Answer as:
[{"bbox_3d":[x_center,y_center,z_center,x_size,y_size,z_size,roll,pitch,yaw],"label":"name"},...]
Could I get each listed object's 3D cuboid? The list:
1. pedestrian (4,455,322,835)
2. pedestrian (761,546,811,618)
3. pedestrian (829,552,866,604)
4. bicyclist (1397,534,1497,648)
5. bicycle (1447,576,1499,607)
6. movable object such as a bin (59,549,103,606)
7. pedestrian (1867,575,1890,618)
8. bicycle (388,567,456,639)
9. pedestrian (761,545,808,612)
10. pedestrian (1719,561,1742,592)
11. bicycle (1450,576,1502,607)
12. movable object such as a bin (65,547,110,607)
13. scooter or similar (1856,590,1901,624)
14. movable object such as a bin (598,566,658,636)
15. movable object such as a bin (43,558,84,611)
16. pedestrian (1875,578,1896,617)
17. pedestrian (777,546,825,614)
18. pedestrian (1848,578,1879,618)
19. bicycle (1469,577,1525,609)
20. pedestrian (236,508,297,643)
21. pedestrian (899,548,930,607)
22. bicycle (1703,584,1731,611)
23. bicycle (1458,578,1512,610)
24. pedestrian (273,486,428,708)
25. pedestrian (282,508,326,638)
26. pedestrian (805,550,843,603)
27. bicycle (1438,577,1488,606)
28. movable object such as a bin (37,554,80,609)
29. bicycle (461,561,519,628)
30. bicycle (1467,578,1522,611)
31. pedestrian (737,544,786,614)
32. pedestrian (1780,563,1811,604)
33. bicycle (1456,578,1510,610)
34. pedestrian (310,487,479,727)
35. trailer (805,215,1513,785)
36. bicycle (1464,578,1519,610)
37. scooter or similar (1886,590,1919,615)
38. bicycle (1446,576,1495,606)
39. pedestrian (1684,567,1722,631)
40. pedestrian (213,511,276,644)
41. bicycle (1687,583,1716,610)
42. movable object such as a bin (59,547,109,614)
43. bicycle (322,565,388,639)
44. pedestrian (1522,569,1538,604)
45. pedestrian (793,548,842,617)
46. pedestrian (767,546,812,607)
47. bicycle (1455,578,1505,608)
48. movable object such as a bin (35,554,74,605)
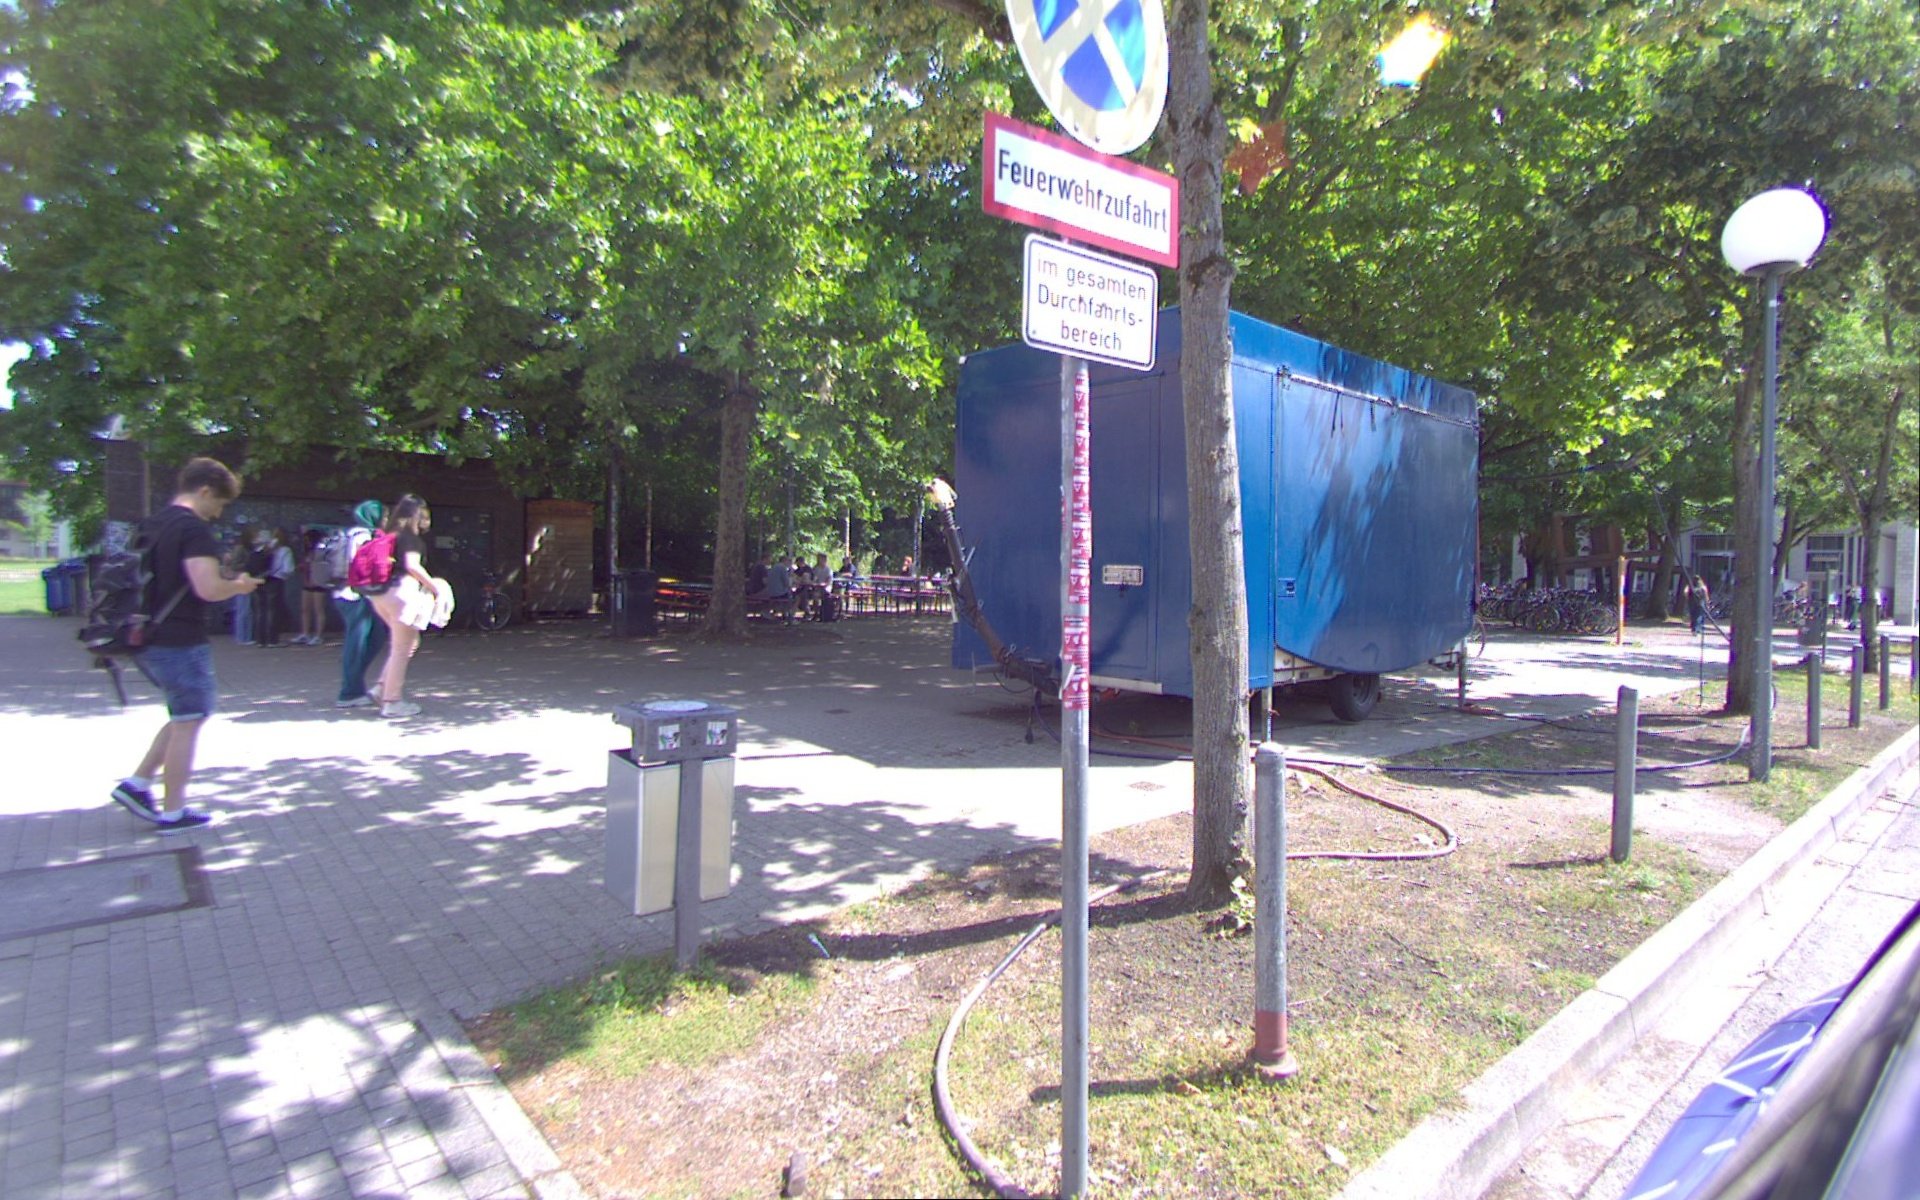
[{"bbox_3d":[-3.743,0.176,4.821,0.835,1.615,0.829,2,2,6],"label":"pedestrian"},{"bbox_3d":[-3.452,-0.358,20.029,0.570,1.363,0.717,6,4,44],"label":"pedestrian"},{"bbox_3d":[-2.905,-0.565,26.100,0.667,1.286,0.612,6,4,45],"label":"pedestrian"},{"bbox_3d":[7.132,-0.142,14.825,1.171,1.586,0.654,1,4,-27],"label":"bicyclist"},{"bbox_3d":[21.020,-0.354,41.459,1.817,1.185,0.352,2,1,13],"label":"bicycle"},{"bbox_3d":[-20.911,-0.529,24.088,0.754,1.337,0.783,1,0,-41],"label":"movable object such as a bin"},{"bbox_3d":[41.275,-0.168,45.468,0.675,1.914,0.685,-1,2,-44],"label":"pedestrian"},{"bbox_3d":[-8.899,0.005,16.703,0.768,1.085,2.406,0,2,-33],"label":"bicycle"},{"bbox_3d":[-3.718,-0.460,21.452,0.570,1.363,0.717,6,4,44],"label":"pedestrian"},{"bbox_3d":[45.184,-1.392,59.351,0.793,1.819,0.621,1,1,-9],"label":"pedestrian"},{"bbox_3d":[20.949,-0.338,41.109,1.817,1.185,0.352,2,1,13],"label":"bicycle"},{"bbox_3d":[-19.864,-0.514,23.054,0.754,1.337,0.783,1,0,-41],"label":"movable object such as a bin"},{"bbox_3d":[32.594,0.262,35.921,1.333,1.128,0.498,2,1,-16],"label":"scooter or similar"},{"bbox_3d":[-5.307,0.000,16.192,0.729,1.084,0.600,-2,3,-40],"label":"movable object such as a bin"},{"bbox_3d":[-23.163,-0.392,26.163,0.754,1.337,0.783,1,0,-41],"label":"movable object such as a bin"},{"bbox_3d":[42.147,-0.108,46.083,0.533,1.750,0.613,0,2,-40],"label":"pedestrian"},{"bbox_3d":[-3.308,-0.408,21.046,0.570,1.363,0.717,6,4,44],"label":"pedestrian"},{"bbox_3d":[41.632,-0.106,46.638,0.796,1.819,0.619,1,1,6],"label":"pedestrian"},{"bbox_3d":[20.467,-0.271,38.583,1.817,1.185,0.344,2,1,12],"label":"bicycle"},{"bbox_3d":[-9.956,-0.348,14.542,0.547,1.906,0.530,1,0,-11],"label":"pedestrian"},{"bbox_3d":[-1.303,-0.631,28.680,0.654,1.600,0.721,3,3,-15],"label":"pedestrian"},{"bbox_3d":[33.222,-0.100,44.411,1.486,1.099,0.482,2,2,-36],"label":"bicycle"},{"bbox_3d":[20.713,-0.231,39.971,1.817,1.185,0.352,2,1,13],"label":"bicycle"},{"bbox_3d":[-4.953,-0.047,8.224,0.932,1.658,0.877,-1,3,-41],"label":"pedestrian"},{"bbox_3d":[-9.855,-0.401,15.209,0.519,1.906,0.449,1,1,-31],"label":"pedestrian"},{"bbox_3d":[-3.416,-0.588,25.407,0.667,1.286,0.612,6,4,45],"label":"pedestrian"},{"bbox_3d":[21.704,-0.353,43.688,1.816,1.185,0.412,2,1,11],"label":"bicycle"},{"bbox_3d":[-22.487,-0.464,25.257,0.754,1.337,0.783,1,0,-41],"label":"movable object such as a bin"},{"bbox_3d":[-8.217,-0.106,17.656,0.767,1.085,2.407,0,1,-28],"label":"bicycle"},{"bbox_3d":[20.546,-0.219,38.921,1.817,1.185,0.344,2,1,13],"label":"bicycle"},{"bbox_3d":[-4.035,-0.430,20.591,0.570,1.363,0.717,6,4,44],"label":"pedestrian"},{"bbox_3d":[36.414,-0.714,44.095,0.737,1.762,0.935,0,1,-44],"label":"pedestrian"},{"bbox_3d":[20.828,-0.245,40.327,1.817,1.185,0.352,2,1,13],"label":"bicycle"},{"bbox_3d":[-4.248,0.007,7.606,0.932,1.657,0.877,-2,5,-41],"label":"pedestrian"},{"bbox_3d":[2.047,-0.623,8.584,6.151,3.089,2.696,0,3,-42],"label":"trailer"},{"bbox_3d":[20.618,-0.234,39.250,1.817,1.185,0.344,2,1,13],"label":"bicycle"},{"bbox_3d":[49.034,0.131,52.567,0.555,1.226,1.508,0,3,8],"label":"scooter or similar"},{"bbox_3d":[21.712,-0.382,43.060,1.816,1.185,0.387,2,1,11],"label":"bicycle"},{"bbox_3d":[19.336,-0.031,26.347,0.911,1.590,0.569,-4,5,-40],"label":"pedestrian"},{"bbox_3d":[-10.536,-0.340,14.912,0.523,1.905,0.555,3,3,21],"label":"pedestrian"},{"bbox_3d":[32.694,-0.146,44.599,1.664,1.099,0.482,2,2,-36],"label":"bicycle"},{"bbox_3d":[-18.140,-0.400,20.975,0.754,1.337,0.783,1,0,-41],"label":"movable object such as a bin"},{"bbox_3d":[-9.622,-0.012,16.168,0.767,1.085,2.408,0,2,-28],"label":"bicycle"},{"bbox_3d":[28.334,-0.663,50.308,0.427,1.724,0.929,0,0,44],"label":"pedestrian"},{"bbox_3d":[-2.903,-0.357,20.632,0.570,1.363,0.717,6,4,44],"label":"pedestrian"},{"bbox_3d":[-3.968,-0.544,23.565,0.667,1.363,0.707,6,4,45],"label":"pedestrian"},{"bbox_3d":[21.861,-0.314,42.562,1.817,1.185,0.387,2,1,13],"label":"bicycle"},{"bbox_3d":[-24.715,-0.558,27.626,0.754,1.337,0.783,1,0,-41],"label":"movable object such as a bin"}]
